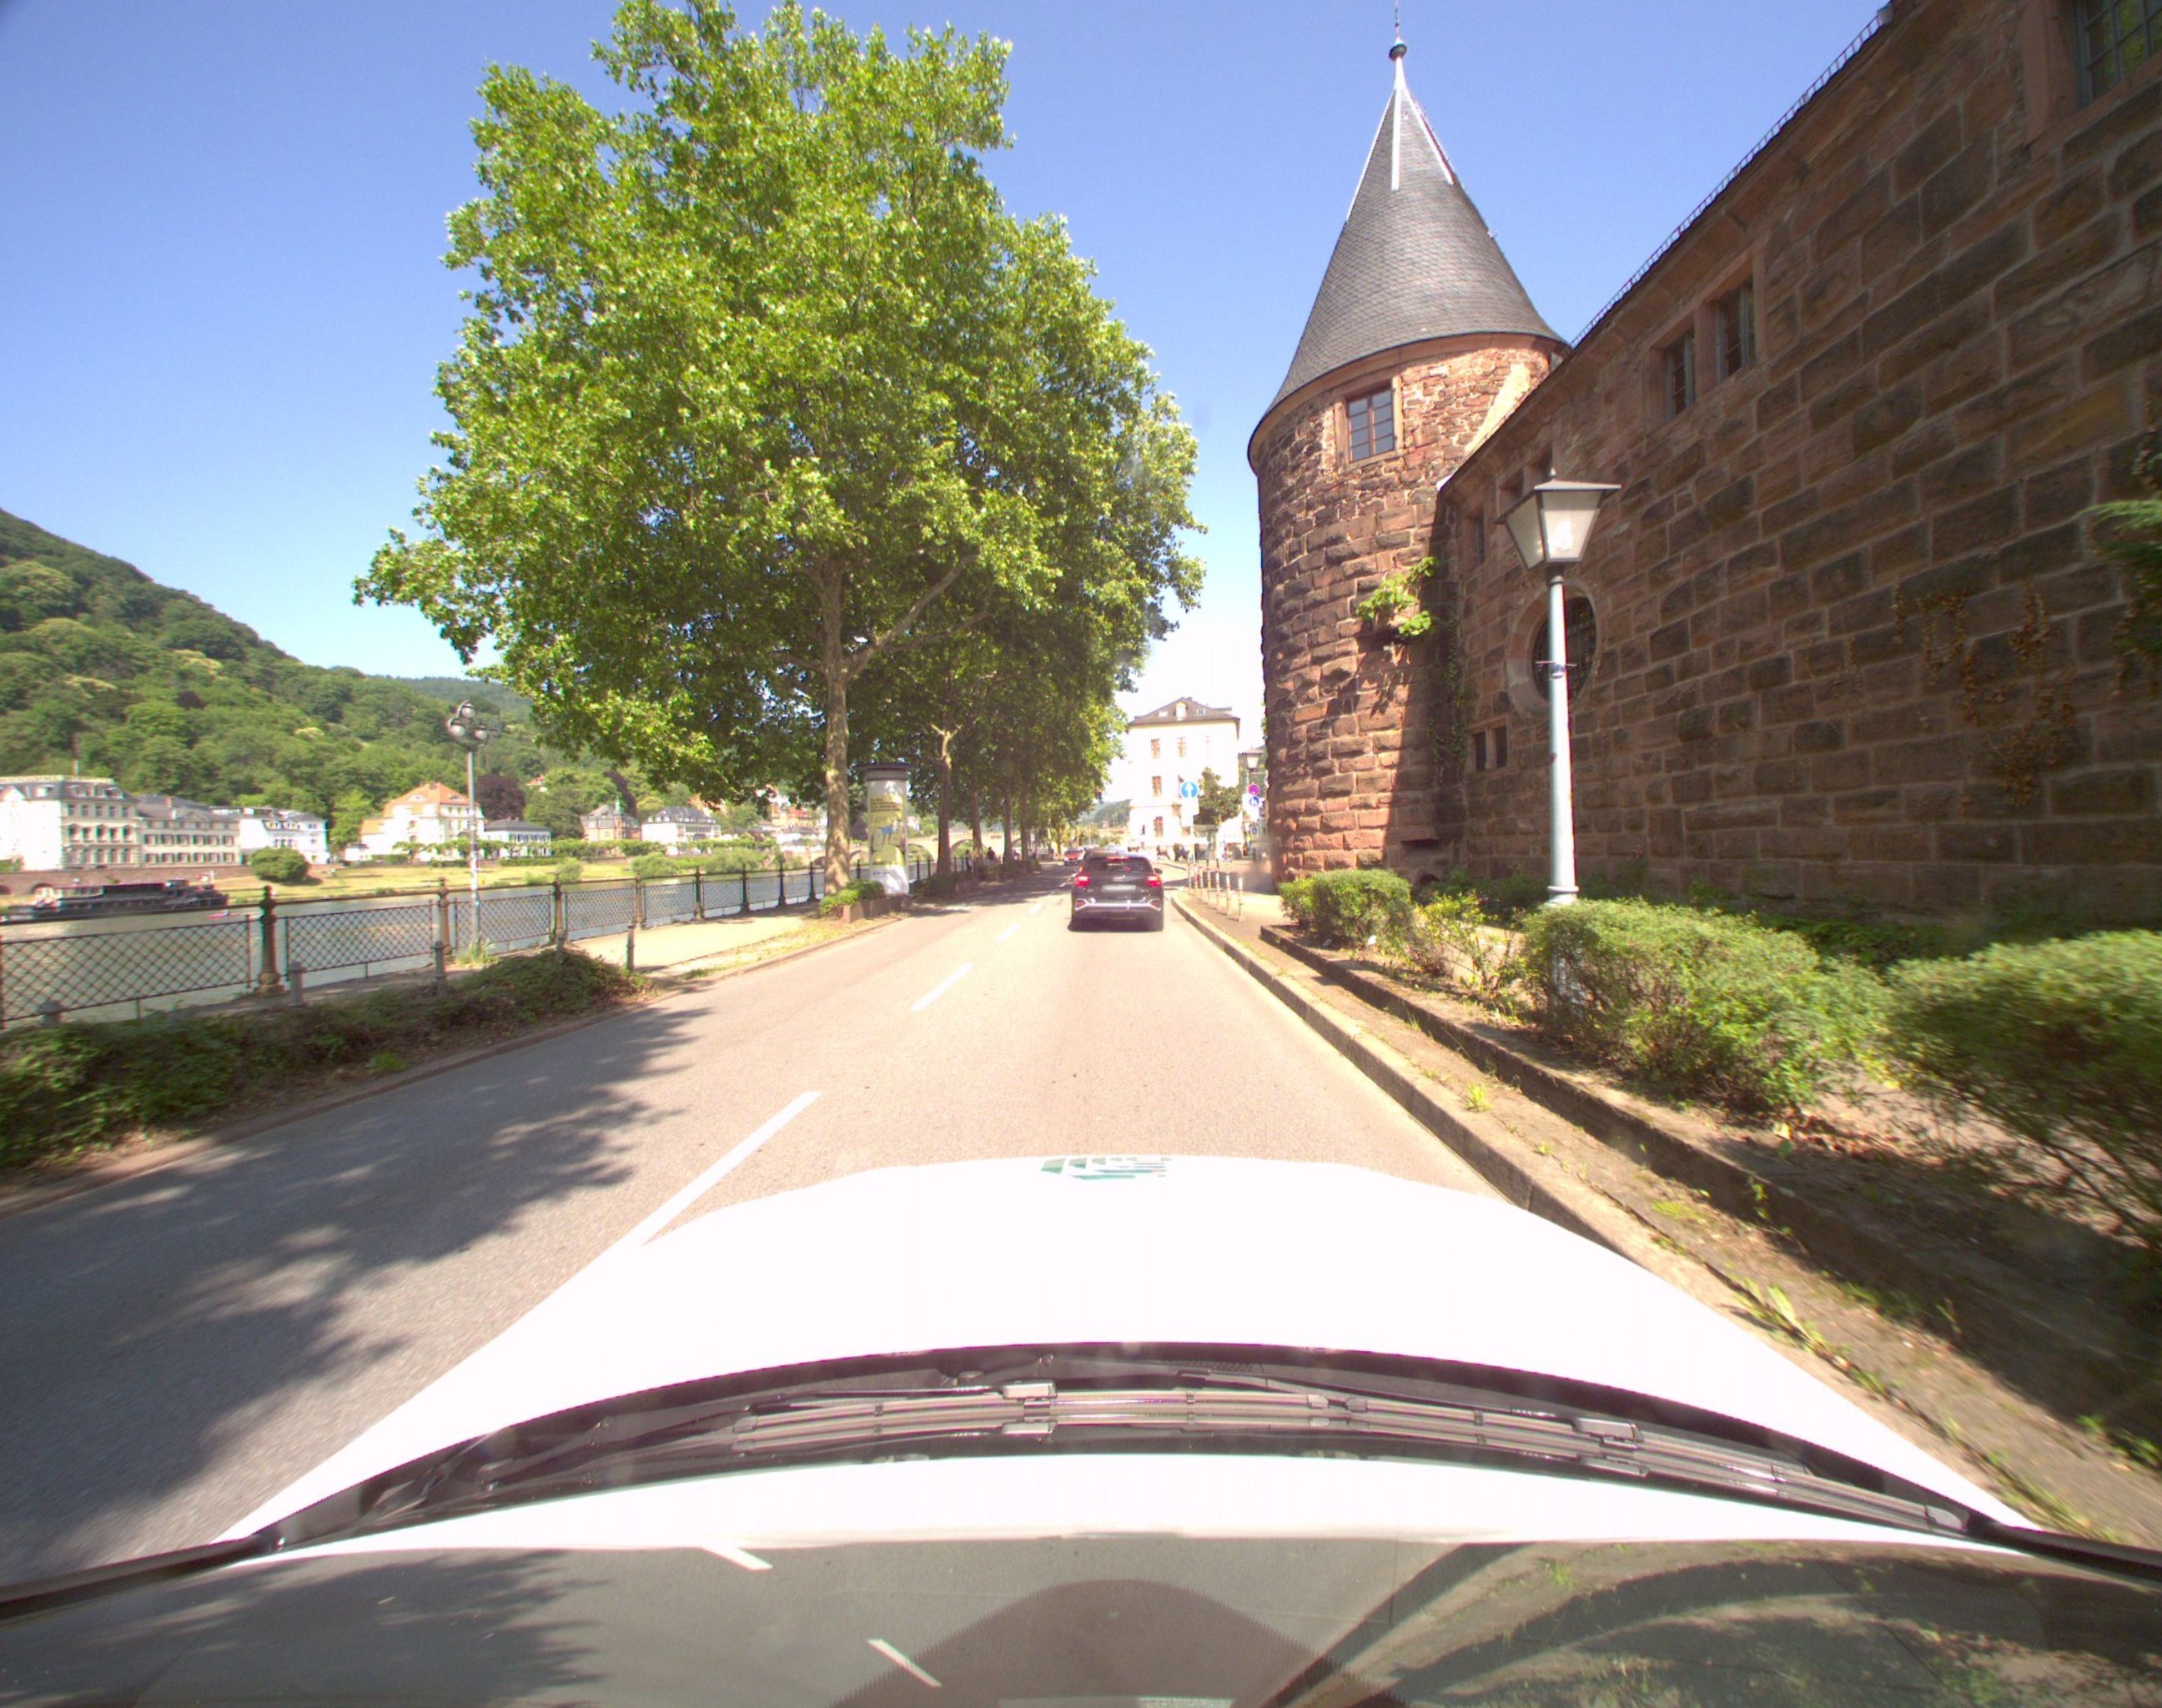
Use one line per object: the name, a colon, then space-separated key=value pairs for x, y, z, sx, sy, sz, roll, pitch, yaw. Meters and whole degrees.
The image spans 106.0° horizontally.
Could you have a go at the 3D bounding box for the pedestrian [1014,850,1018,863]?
pedestrian: x=-6.679 y=0.252 z=84.078 sx=0.407 sy=1.425 sz=0.457 roll=0 pitch=0 yaw=-1

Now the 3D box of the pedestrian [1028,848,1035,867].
pedestrian: x=-4.338 y=0.341 z=71.442 sx=0.516 sy=1.637 sz=0.438 roll=-3 pitch=0 yaw=-5

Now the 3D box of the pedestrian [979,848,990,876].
pedestrian: x=-6.161 y=0.517 z=52.021 sx=0.562 sy=1.741 sz=0.665 roll=-3 pitch=0 yaw=-1

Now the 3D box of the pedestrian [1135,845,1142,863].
pedestrian: x=4.835 y=0.001 z=68.276 sx=0.555 sy=1.557 sz=0.660 roll=0 pitch=0 yaw=3

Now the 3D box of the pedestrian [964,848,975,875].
pedestrian: x=-7.157 y=0.466 z=52.315 sx=0.643 sy=1.717 sz=0.665 roll=0 pitch=0 yaw=-1

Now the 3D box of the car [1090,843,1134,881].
car: x=1.404 y=0.324 z=36.532 sx=1.794 sy=1.523 sz=3.718 roll=-2 pitch=0 yaw=2

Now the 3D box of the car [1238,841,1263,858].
car: x=18.015 y=-0.471 z=86.510 sx=1.986 sy=1.716 sz=4.002 roll=0 pitch=0 yaw=2

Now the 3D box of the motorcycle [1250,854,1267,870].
motorcycle: x=9.710 y=0.404 z=44.632 sx=0.481 sy=0.818 sz=2.281 roll=-3 pitch=0 yaw=2

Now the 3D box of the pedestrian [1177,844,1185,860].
pedestrian: x=7.634 y=-0.136 z=62.349 sx=0.544 sy=1.201 sz=0.523 roll=0 pitch=0 yaw=3

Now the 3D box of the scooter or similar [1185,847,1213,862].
scooter or similar: x=7.833 y=0.041 z=54.143 sx=1.838 sy=0.963 sz=0.429 roll=0 pitch=0 yaw=1

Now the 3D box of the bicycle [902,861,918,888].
bicycle: x=-7.606 y=0.896 z=36.219 sx=0.356 sy=1.162 sz=1.825 roll=0 pitch=0 yaw=-1

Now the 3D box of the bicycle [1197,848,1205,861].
bicycle: x=9.213 y=0.036 z=62.646 sx=0.449 sy=0.974 sz=1.400 roll=0 pitch=0 yaw=2

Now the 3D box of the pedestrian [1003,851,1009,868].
pedestrian: x=-7.071 y=0.512 z=76.447 sx=0.496 sy=1.537 sz=0.678 roll=-3 pitch=0 yaw=-5

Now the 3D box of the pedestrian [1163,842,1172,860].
pedestrian: x=7.596 y=-0.236 z=71.333 sx=0.744 sy=1.557 sz=0.589 roll=0 pitch=0 yaw=3

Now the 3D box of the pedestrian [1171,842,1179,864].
pedestrian: x=7.133 y=-0.102 z=61.726 sx=0.555 sy=1.633 sz=0.660 roll=0 pitch=0 yaw=3

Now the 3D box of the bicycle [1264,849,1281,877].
bicycle: x=7.501 y=0.357 z=31.937 sx=0.493 sy=1.030 sz=2.056 roll=-4 pitch=-1 yaw=10

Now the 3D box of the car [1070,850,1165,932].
car: x=0.702 y=0.670 z=16.748 sx=1.742 sy=1.494 sz=3.630 roll=0 pitch=0 yaw=1

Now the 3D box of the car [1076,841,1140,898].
car: x=0.864 y=0.432 z=25.487 sx=1.794 sy=1.562 sz=3.718 roll=-3 pitch=0 yaw=2

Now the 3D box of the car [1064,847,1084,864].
car: x=-0.645 y=0.120 z=77.029 sx=1.607 sy=1.523 sz=3.480 roll=-3 pitch=0 yaw=4

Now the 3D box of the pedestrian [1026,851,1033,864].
pedestrian: x=-4.885 y=0.331 z=77.326 sx=0.588 sy=1.278 sz=0.525 roll=0 pitch=0 yaw=2
